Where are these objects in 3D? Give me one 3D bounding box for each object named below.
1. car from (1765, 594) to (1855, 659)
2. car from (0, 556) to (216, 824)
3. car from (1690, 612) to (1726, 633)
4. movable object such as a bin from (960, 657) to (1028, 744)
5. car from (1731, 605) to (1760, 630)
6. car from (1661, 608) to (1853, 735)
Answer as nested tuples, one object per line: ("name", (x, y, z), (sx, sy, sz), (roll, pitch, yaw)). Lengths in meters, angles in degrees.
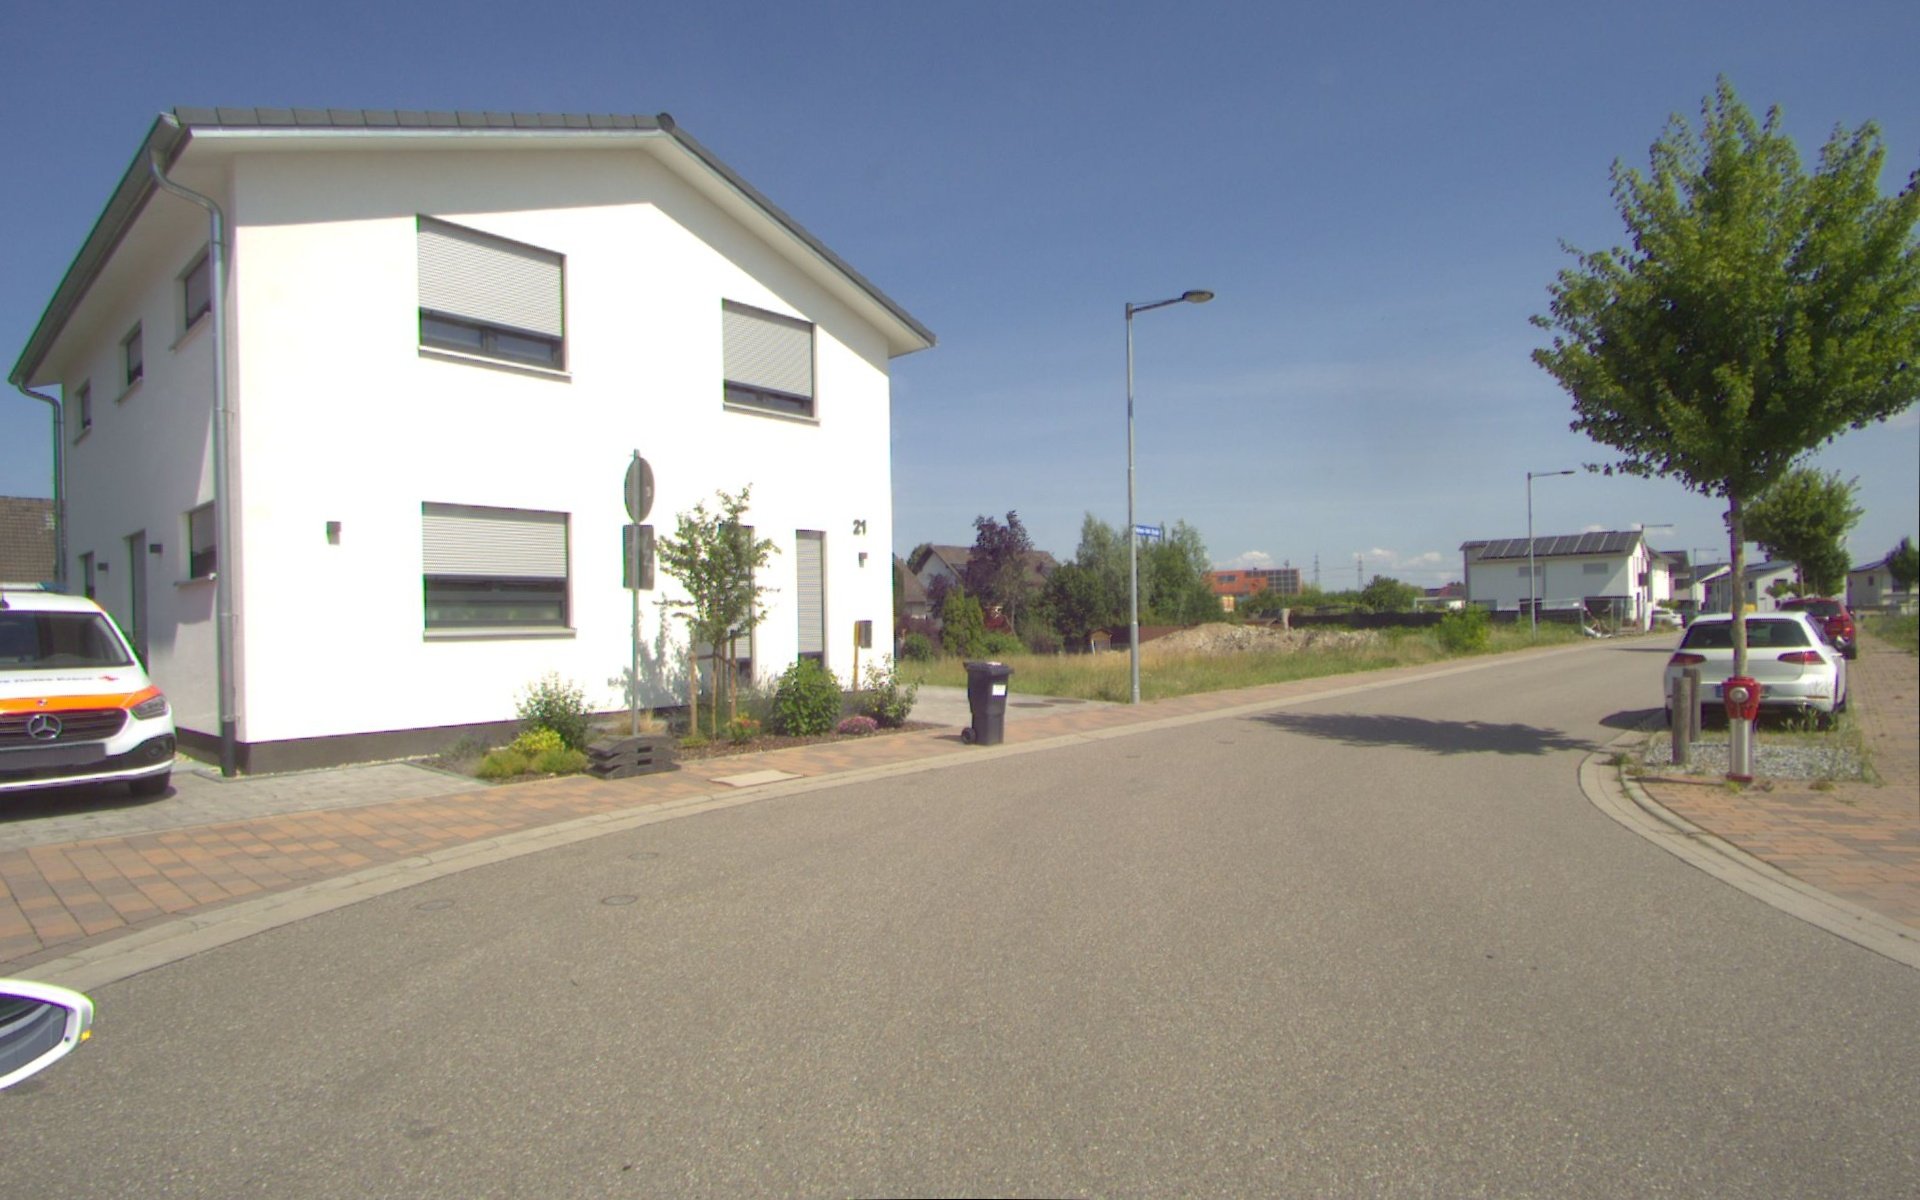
("car", (23.855, 0.722, 28.109), (1.763, 1.684, 4.397), (-3, -2, 41))
("car", (-8.419, 0.716, 8.847), (4.696, 1.899, 1.924), (-2, -2, 40))
("car", (53.247, 1.592, 71.284), (1.731, 1.424, 4.126), (1, 1, 41))
("movable object such as a bin", (0.392, 1.145, 11.566), (0.617, 0.960, 0.497), (-1, -1, 38))
("car", (67.070, 1.531, 85.513), (1.924, 2.006, 4.188), (-1, -2, 38))
("car", (10.977, 0.888, 13.676), (1.762, 1.438, 4.130), (-4, -3, 42))
